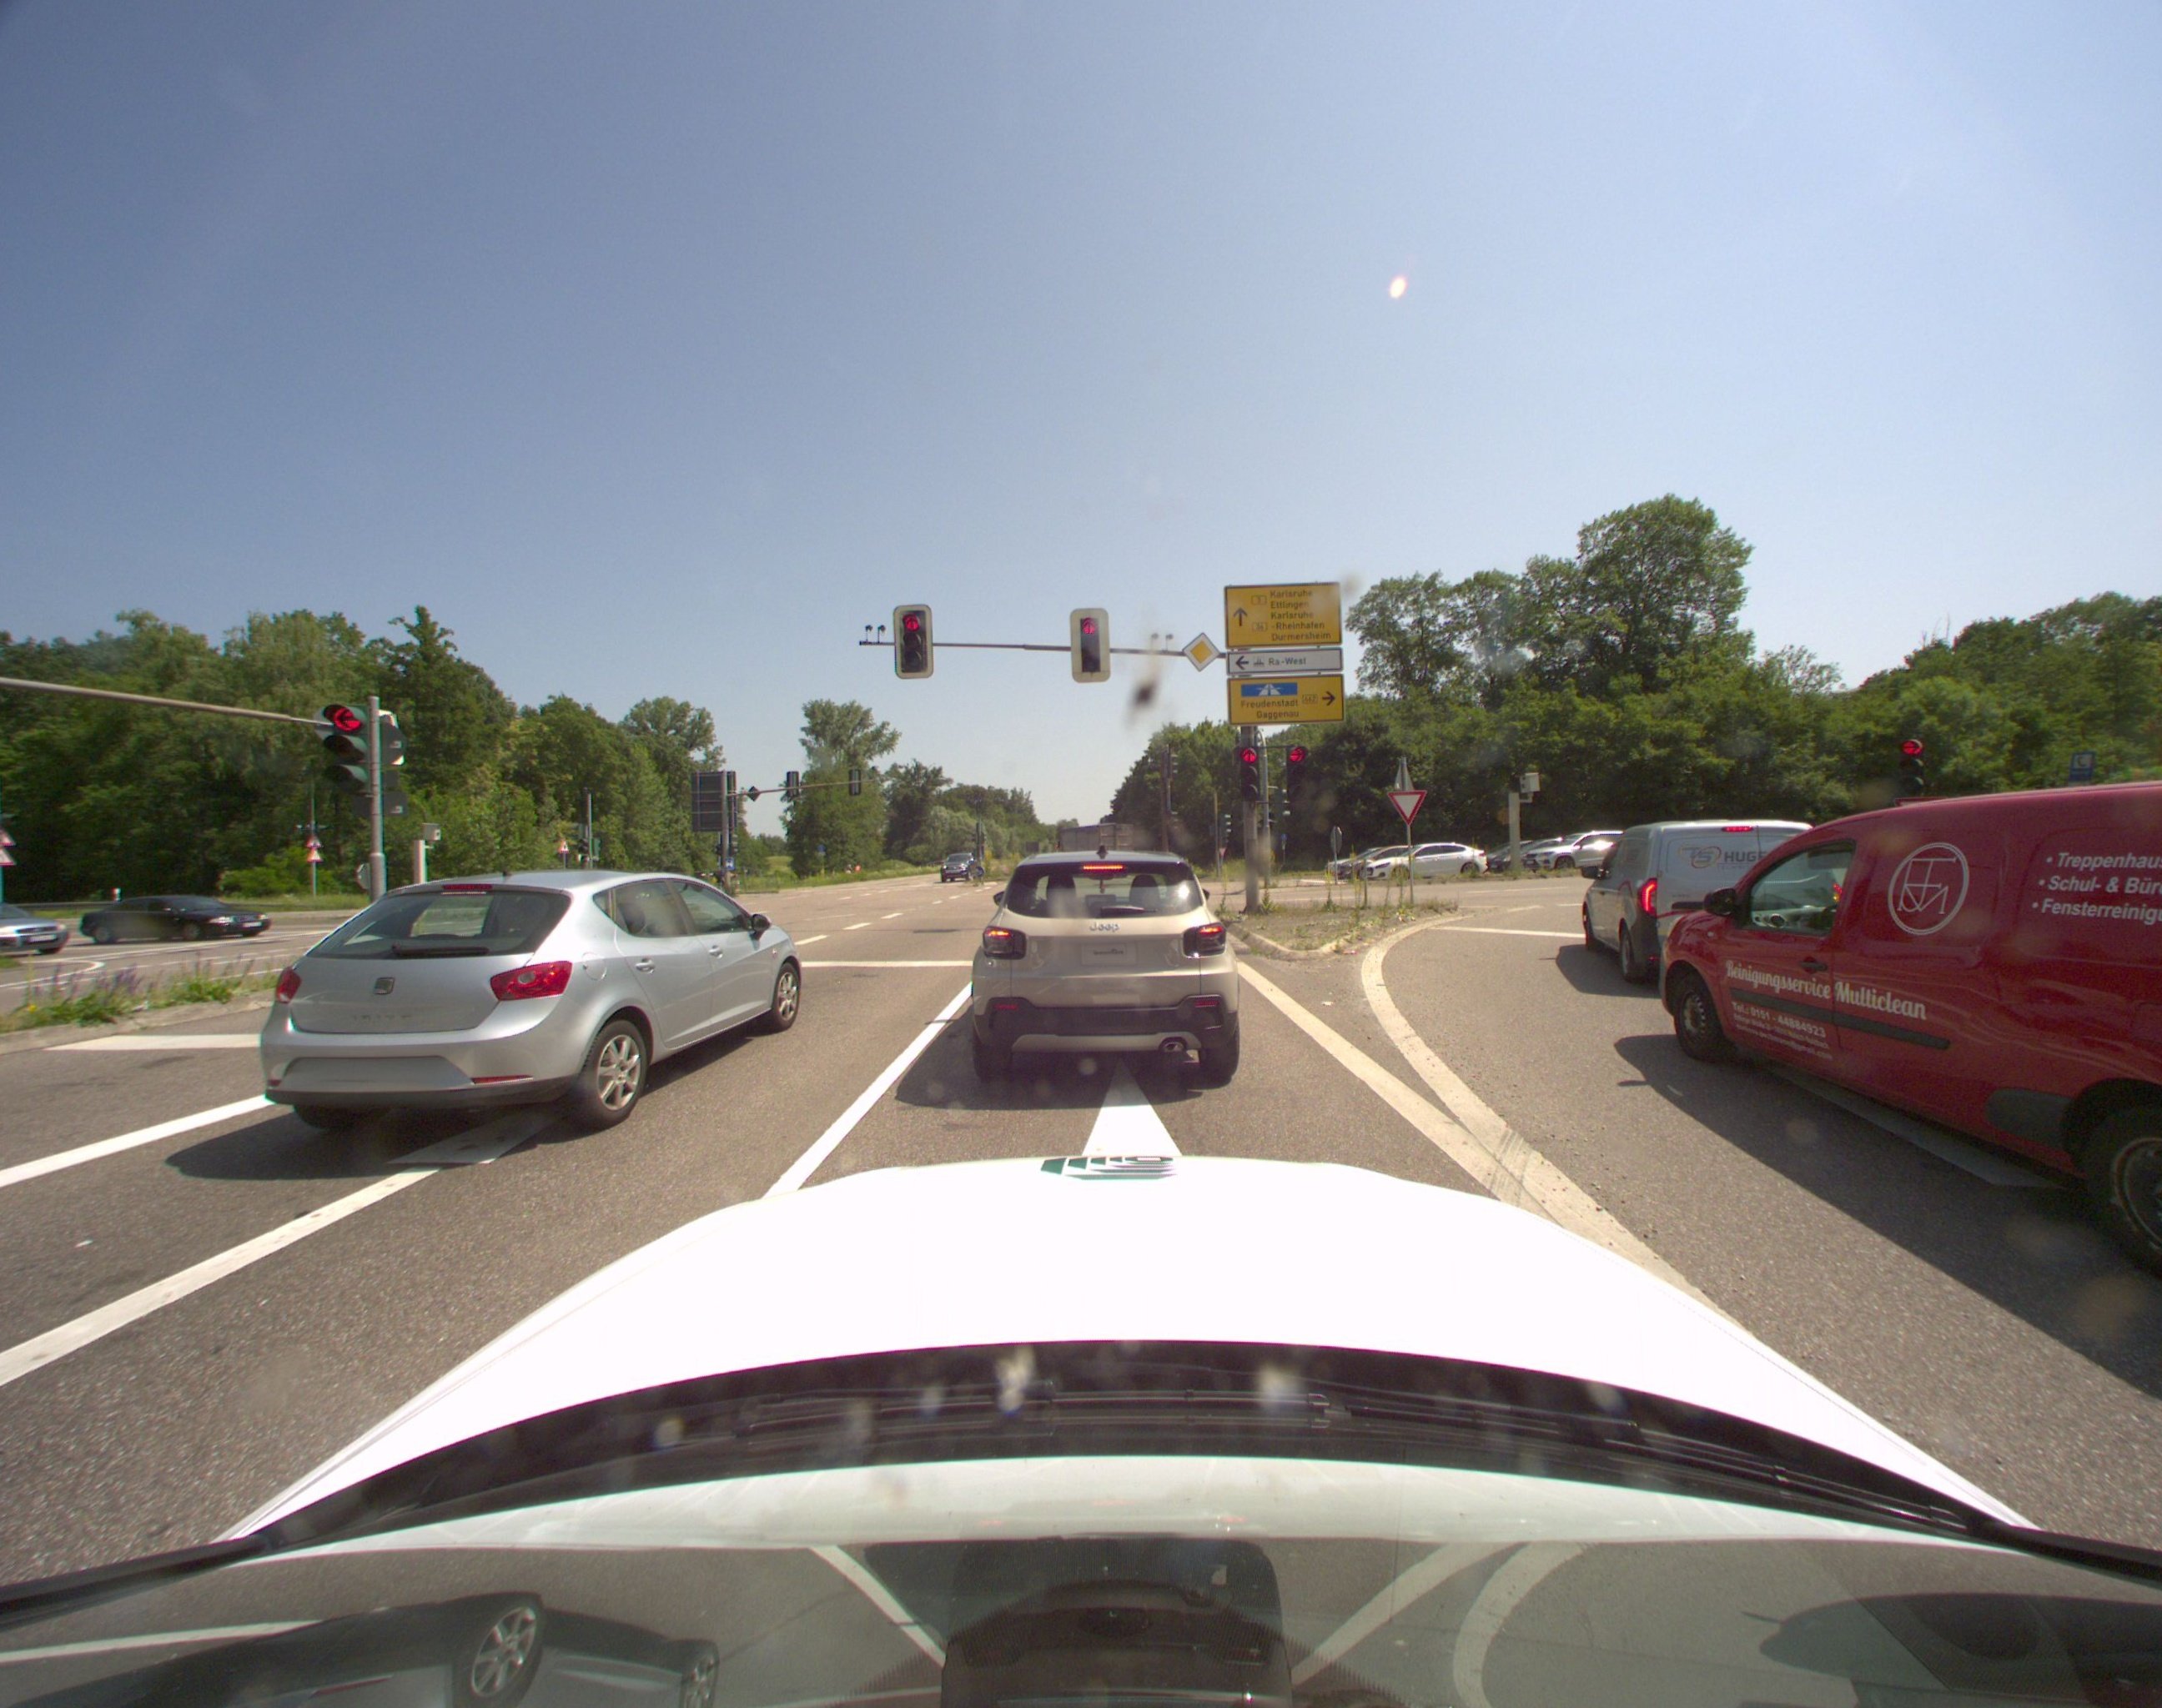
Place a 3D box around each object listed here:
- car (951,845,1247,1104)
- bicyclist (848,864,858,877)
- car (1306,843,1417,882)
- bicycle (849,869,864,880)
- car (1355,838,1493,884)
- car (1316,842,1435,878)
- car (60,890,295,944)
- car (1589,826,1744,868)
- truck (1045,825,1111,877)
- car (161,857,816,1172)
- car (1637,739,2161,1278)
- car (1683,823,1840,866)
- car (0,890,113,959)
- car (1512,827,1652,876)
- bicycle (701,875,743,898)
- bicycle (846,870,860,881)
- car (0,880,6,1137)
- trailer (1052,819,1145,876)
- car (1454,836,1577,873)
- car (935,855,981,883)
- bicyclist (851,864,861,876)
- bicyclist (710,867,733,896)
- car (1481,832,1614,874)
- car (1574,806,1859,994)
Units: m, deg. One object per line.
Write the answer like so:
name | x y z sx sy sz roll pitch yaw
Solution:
car | 0.170 0.727 6.905 1.761 1.535 4.002 -1 0 2
bicyclist | -23.154 1.668 82.556 0.730 1.195 0.594 -3 -1 12
car | 12.029 0.347 35.083 4.080 1.447 1.994 -2 0 -1
bicycle | -22.506 2.047 81.603 0.672 1.005 1.806 -3 0 11
car | 13.076 0.262 31.222 4.406 1.535 1.999 -2 0 -1
car | 13.885 0.305 38.657 4.913 1.498 2.021 -2 -1 1
car | -27.329 1.882 24.768 4.788 1.290 2.106 -2 0 1
car | 25.193 -0.283 35.182 5.111 1.533 2.138 -3 -1 1
truck | -0.331 -0.217 66.441 3.345 3.989 6.487 0 -1 -21
car | -3.356 0.749 5.662 1.659 1.430 3.830 0 0 2
car | 4.853 0.505 4.128 1.780 1.822 4.511 -1 0 12
car | 26.037 -0.340 31.262 4.315 1.414 1.974 -3 -1 1
car | -28.571 1.864 20.922 4.788 1.567 2.130 -2 0 0
car | 19.251 -0.109 31.450 4.157 1.659 2.000 -2 0 1
bicycle | -18.700 1.690 42.451 0.715 1.063 1.881 -2 0 38
bicycle | -23.135 2.158 82.594 0.600 1.006 1.560 -3 -1 12
car | -6.731 0.852 2.415 1.759 1.391 4.014 0 0 -1
trailer | 1.085 -0.397 62.431 3.395 3.989 10.729 0 -1 -20
car | 20.326 0.018 38.216 4.600 1.498 2.112 -2 -1 1
car | -8.040 0.929 53.768 1.986 1.678 5.367 -3 0 2
bicyclist | -22.543 1.599 81.503 0.752 1.195 0.594 -3 0 11
bicyclist | -18.735 1.413 42.436 0.914 1.459 0.721 -2 0 38
car | 19.690 -0.019 34.513 4.404 1.535 2.122 -2 -1 0
car | 7.346 0.425 9.917 1.740 1.773 4.136 -2 0 24
